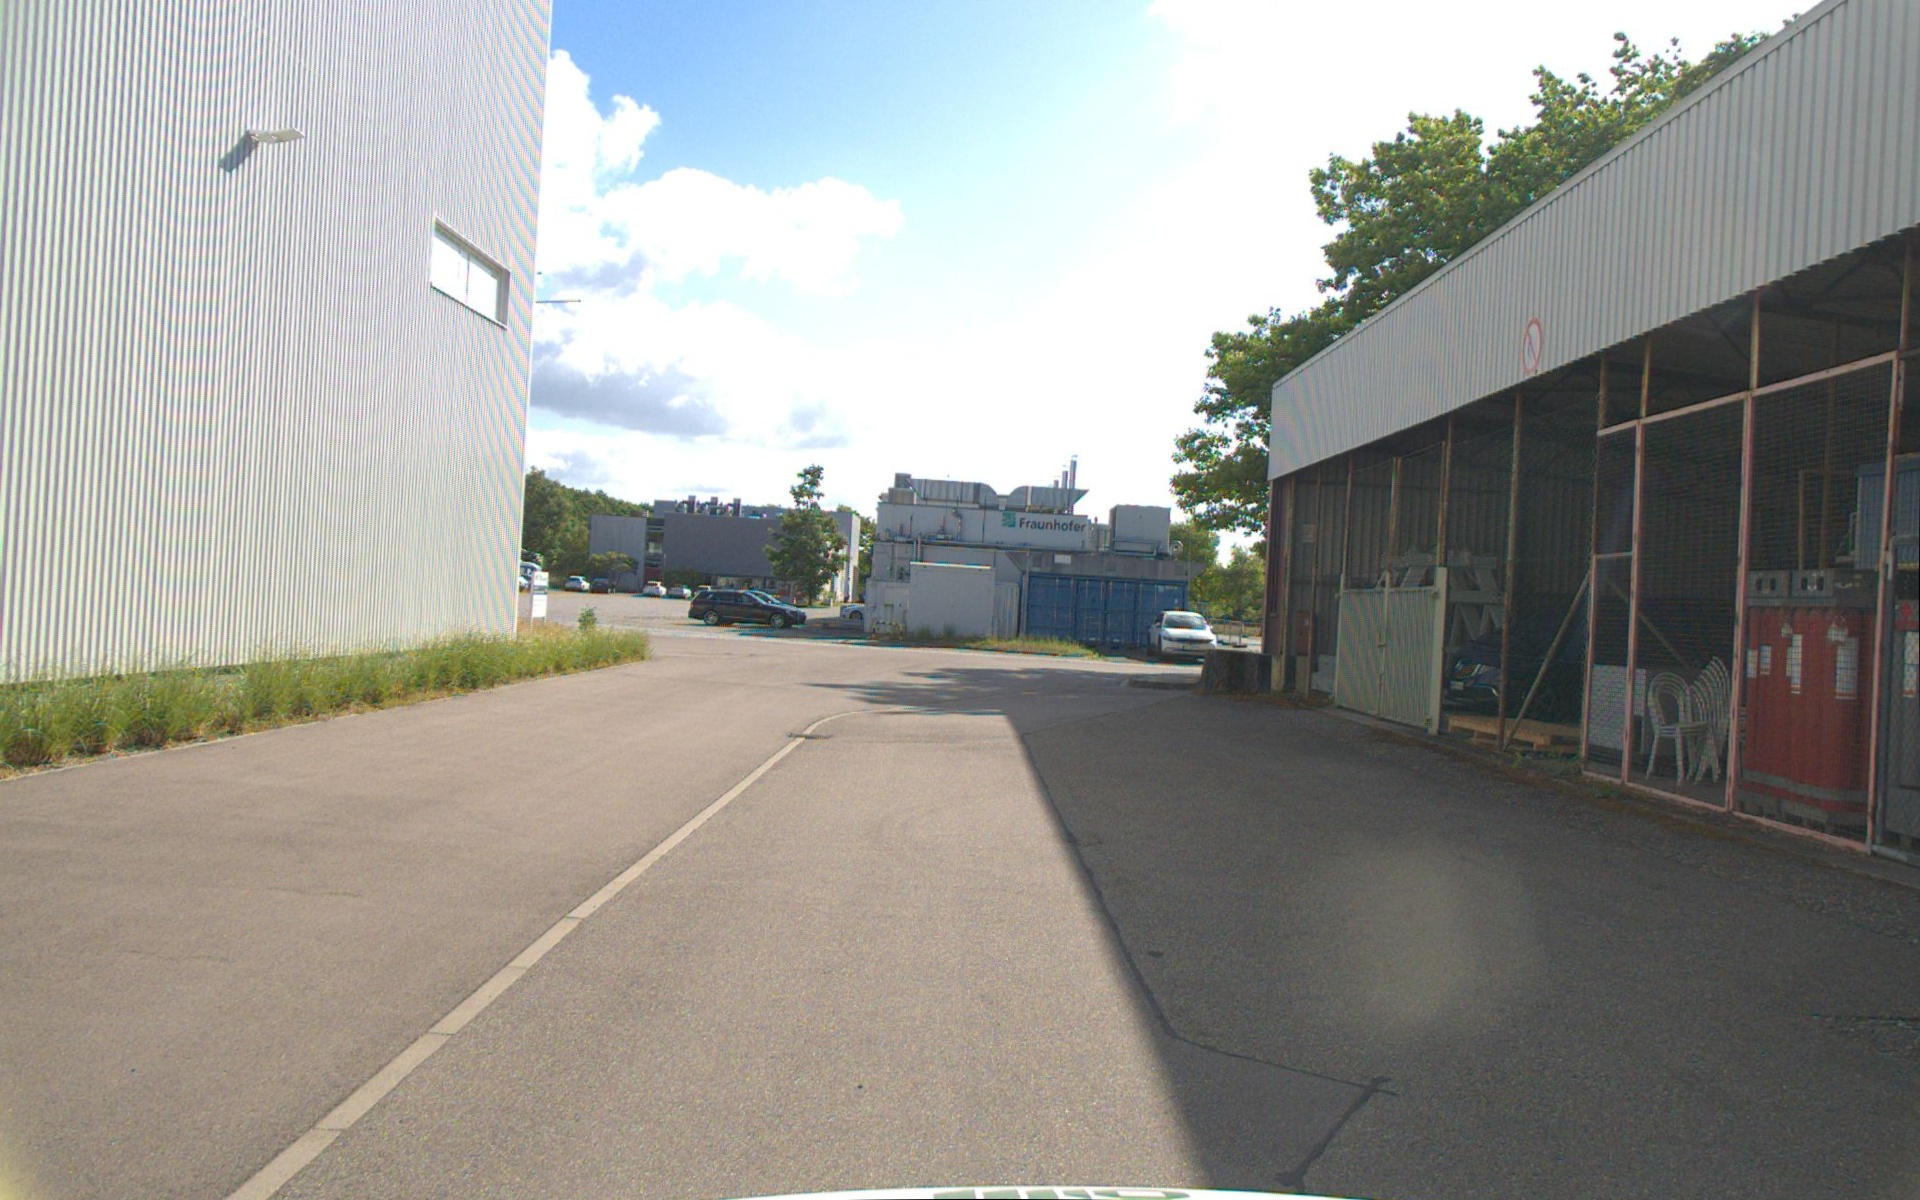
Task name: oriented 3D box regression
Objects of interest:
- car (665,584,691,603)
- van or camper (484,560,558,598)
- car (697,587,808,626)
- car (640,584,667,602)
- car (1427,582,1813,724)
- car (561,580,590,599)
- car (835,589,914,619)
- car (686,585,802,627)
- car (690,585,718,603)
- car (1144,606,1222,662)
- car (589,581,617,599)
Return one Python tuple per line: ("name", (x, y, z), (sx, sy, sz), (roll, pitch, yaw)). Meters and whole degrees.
("car", (-28.119, -0.627, 164.858), (1.953, 1.766, 3.999), (1, 0, -1))
("van or camper", (-37.507, -1.795, 141.471), (5.600, 2.979, 2.472), (3, 0, -3))
("car", (-8.939, 0.282, 71.504), (4.432, 1.534, 1.909), (2, 0, 1))
("car", (-30.567, -0.674, 165.184), (1.953, 1.766, 3.999), (1, 0, -1))
("car", (10.058, 0.791, 25.417), (5.136, 1.909, 1.997), (2, 0, -6))
("car", (-38.240, -1.052, 164.663), (1.953, 1.766, 3.999), (1, 0, -1))
("car", (-4.928, 0.224, 95.906), (4.433, 1.534, 1.909), (3, 0, 0))
("car", (-8.894, 0.258, 68.267), (4.432, 1.534, 1.909), (2, 0, 1))
("car", (-25.587, -0.605, 165.227), (2.149, 1.766, 3.999), (1, 0, -1))
("car", (7.443, 1.102, 55.676), (1.953, 1.613, 4.172), (3, 1, -1))
("car", (-35.490, -0.997, 164.637), (1.953, 1.766, 3.999), (1, 0, -1))
